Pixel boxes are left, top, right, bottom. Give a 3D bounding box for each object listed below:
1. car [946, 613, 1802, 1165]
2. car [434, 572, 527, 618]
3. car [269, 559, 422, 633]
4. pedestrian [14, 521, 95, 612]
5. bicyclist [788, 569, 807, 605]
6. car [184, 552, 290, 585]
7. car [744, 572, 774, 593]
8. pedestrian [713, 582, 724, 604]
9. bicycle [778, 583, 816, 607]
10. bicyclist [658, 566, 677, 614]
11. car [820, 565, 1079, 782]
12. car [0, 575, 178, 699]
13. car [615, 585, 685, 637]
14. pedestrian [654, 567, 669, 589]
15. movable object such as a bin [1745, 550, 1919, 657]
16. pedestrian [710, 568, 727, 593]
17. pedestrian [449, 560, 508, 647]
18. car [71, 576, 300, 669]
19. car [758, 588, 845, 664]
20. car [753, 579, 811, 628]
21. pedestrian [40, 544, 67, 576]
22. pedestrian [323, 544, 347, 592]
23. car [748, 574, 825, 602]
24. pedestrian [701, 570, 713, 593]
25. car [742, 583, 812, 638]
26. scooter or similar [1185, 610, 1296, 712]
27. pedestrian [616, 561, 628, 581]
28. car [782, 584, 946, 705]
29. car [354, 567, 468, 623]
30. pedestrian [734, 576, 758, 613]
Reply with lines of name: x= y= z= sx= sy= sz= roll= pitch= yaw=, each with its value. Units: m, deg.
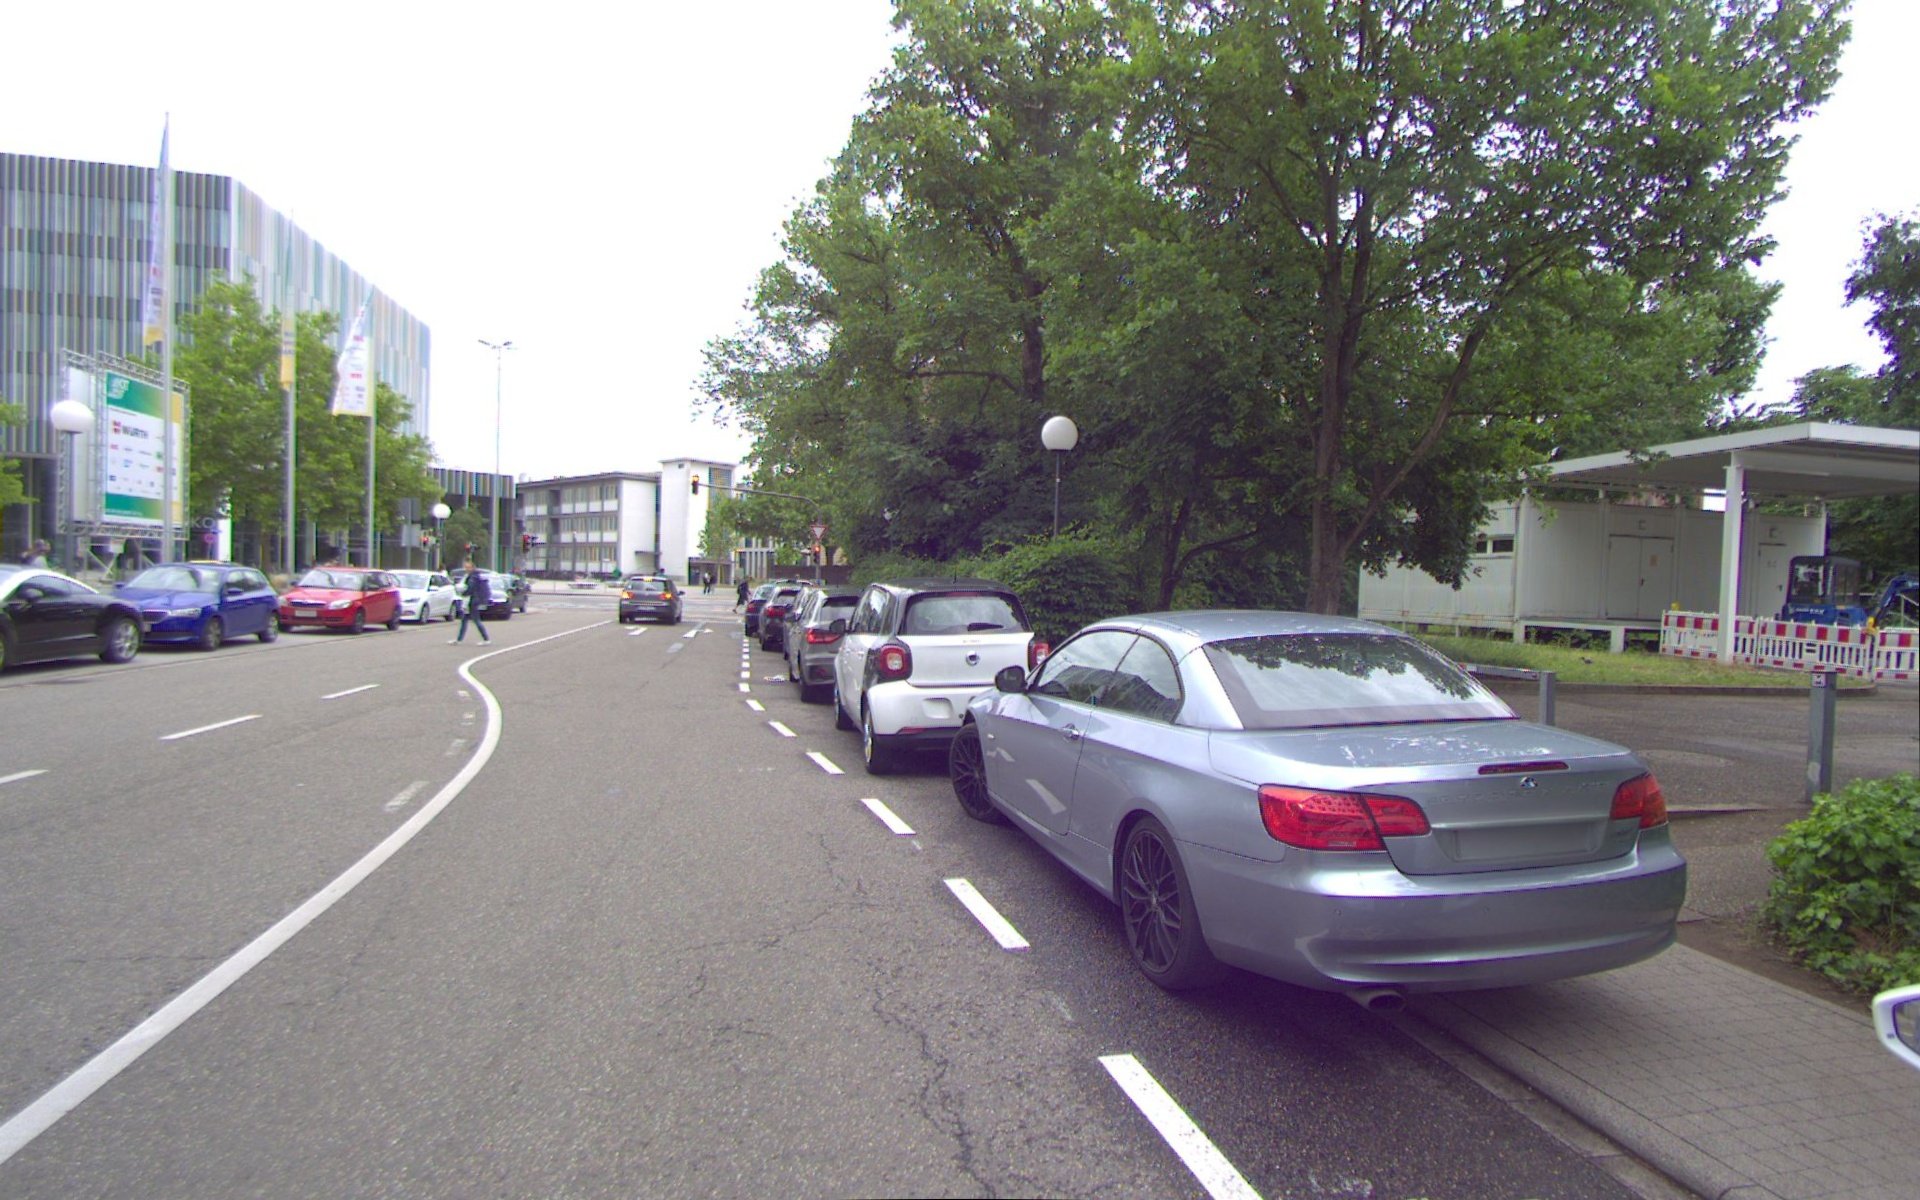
car: x=1.289 y=0.826 z=4.995 sx=1.793 sy=1.407 sz=4.181 roll=1 pitch=1 yaw=-14
car: x=-16.204 y=-0.200 z=33.829 sx=1.851 sy=1.420 sz=4.427 roll=1 pitch=1 yaw=-39
car: x=-14.363 y=-0.092 z=23.762 sx=1.688 sy=1.493 sz=4.264 roll=3 pitch=0 yaw=-12
pedestrian: x=-17.054 y=-0.614 z=18.944 sx=0.723 sy=1.662 sz=0.930 roll=0 pitch=-1 yaw=-8
bicyclist: x=-7.746 y=-0.603 z=47.854 sx=0.852 sy=1.663 sz=0.874 roll=1 pitch=0 yaw=-10
car: x=-38.545 y=-1.674 z=53.648 sx=4.123 sy=1.639 sz=1.994 roll=1 pitch=1 yaw=-14
car: x=-22.639 y=-1.951 z=113.419 sx=1.961 sy=1.601 sz=4.408 roll=-7 pitch=-6 yaw=5
pedestrian: x=-18.291 y=-0.538 z=76.084 sx=0.564 sy=1.687 sz=0.621 roll=1 pitch=1 yaw=33
bicycle: x=-7.760 y=-0.233 z=47.852 sx=1.769 sy=1.108 sz=0.874 roll=1 pitch=0 yaw=-11
bicyclist: x=-11.367 y=-0.390 z=39.010 sx=0.649 sy=1.803 sz=0.979 roll=1 pitch=1 yaw=-19
car: x=-0.317 y=0.549 z=9.526 sx=1.692 sy=1.607 sz=3.868 roll=1 pitch=0 yaw=-13
car: x=-12.483 y=0.442 z=13.036 sx=1.821 sy=1.461 sz=4.410 roll=1 pitch=-1 yaw=-11
car: x=-9.996 y=0.300 z=32.658 sx=1.758 sy=1.517 sz=4.158 roll=2 pitch=1 yaw=-12
pedestrian: x=-23.184 y=-1.695 z=78.002 sx=0.795 sy=1.686 sz=0.789 roll=-1 pitch=-2 yaw=33
movable object such as a bin: x=20.500 y=0.116 z=22.674 sx=4.593 sy=2.200 sz=1.993 roll=2 pitch=0 yaw=-16
pedestrian: x=-18.069 y=-1.468 z=75.226 sx=0.880 sy=1.812 sz=0.843 roll=2 pitch=1 yaw=35
pedestrian: x=-9.683 y=0.065 z=20.224 sx=0.727 sy=1.684 sz=0.967 roll=2 pitch=0 yaw=-5
car: x=-13.663 y=0.326 z=18.066 sx=1.672 sy=1.430 sz=4.362 roll=2 pitch=1 yaw=-15
car: x=-3.807 y=0.550 z=23.592 sx=1.772 sy=1.582 sz=4.520 roll=2 pitch=0 yaw=-12
car: x=-6.029 y=0.083 z=34.008 sx=1.771 sy=1.489 sz=4.240 roll=2 pitch=1 yaw=-10
pedestrian: x=-59.460 y=-2.605 z=65.905 sx=0.982 sy=2.040 sz=0.855 roll=0 pitch=-1 yaw=-4
pedestrian: x=-23.249 y=-1.188 z=37.368 sx=0.647 sy=1.738 sz=0.583 roll=0 pitch=1 yaw=-18
car: x=-9.977 y=-0.710 z=57.621 sx=4.218 sy=1.509 sz=1.995 roll=1 pitch=1 yaw=-13
pedestrian: x=-18.800 y=-1.342 z=74.643 sx=0.615 sy=1.688 sz=0.615 roll=1 pitch=1 yaw=40
car: x=-5.214 y=0.241 z=29.004 sx=1.770 sy=1.427 sz=4.330 roll=2 pitch=1 yaw=-8
scooter or similar: x=3.577 y=0.753 z=12.836 sx=1.283 sy=1.226 sz=0.450 roll=1 pitch=1 yaw=29
pedestrian: x=-30.324 y=-2.577 z=90.162 sx=0.891 sy=1.737 sz=0.948 roll=1 pitch=2 yaw=-16
car: x=-1.483 y=0.534 z=14.006 sx=1.739 sy=1.430 sz=3.998 roll=1 pitch=0 yaw=-13
car: x=-15.691 y=-0.143 z=28.933 sx=1.834 sy=1.472 sz=3.849 roll=1 pitch=1 yaw=-12
pedestrian: x=-9.643 y=-0.246 z=45.318 sx=1.025 sy=1.641 sz=0.656 roll=1 pitch=1 yaw=-10
